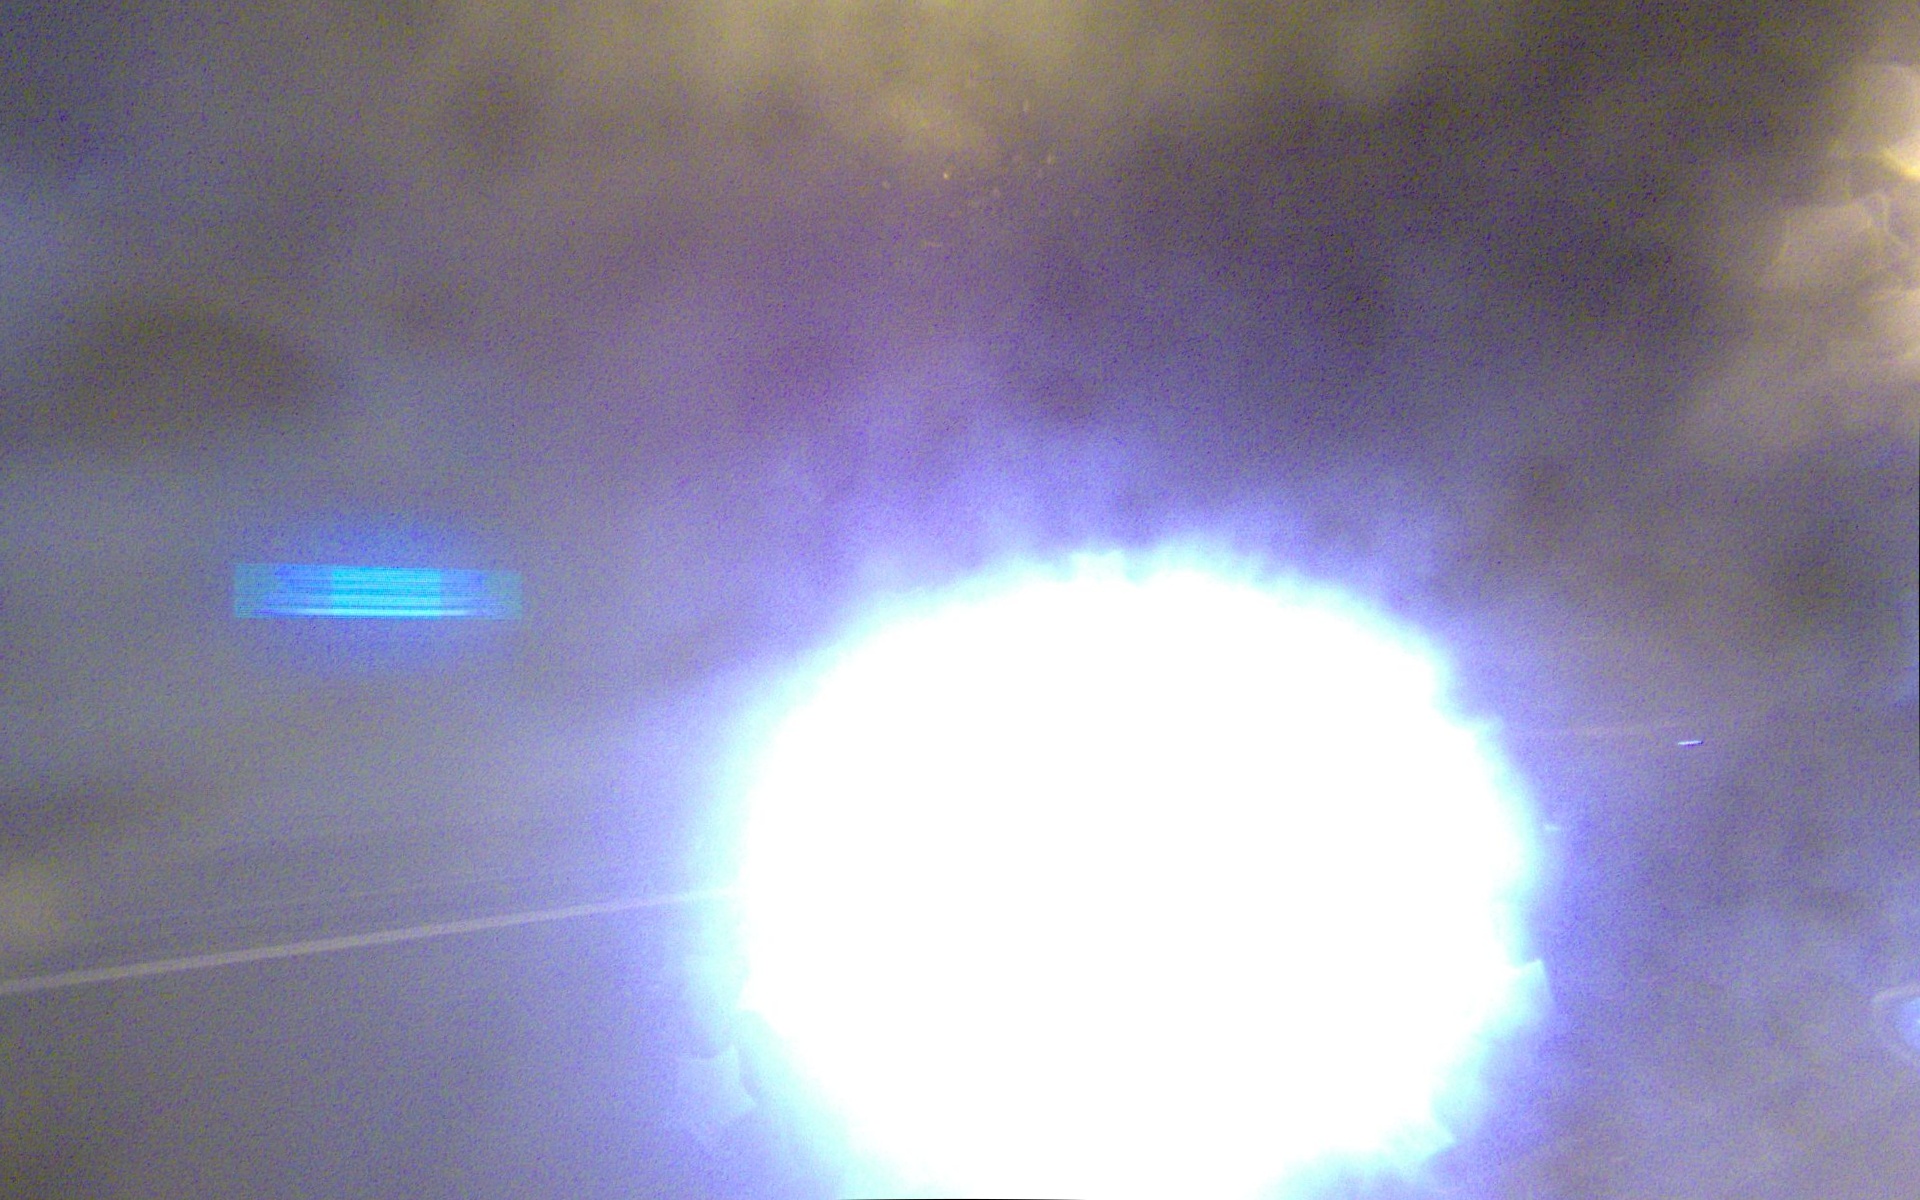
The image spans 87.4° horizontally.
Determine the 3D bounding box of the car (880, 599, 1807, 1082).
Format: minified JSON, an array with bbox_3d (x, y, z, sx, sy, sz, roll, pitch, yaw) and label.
[{"bbox_3d":[2.032,0.761,4.864,4.530,1.396,1.704,1,1,-30],"label":"car"}]
